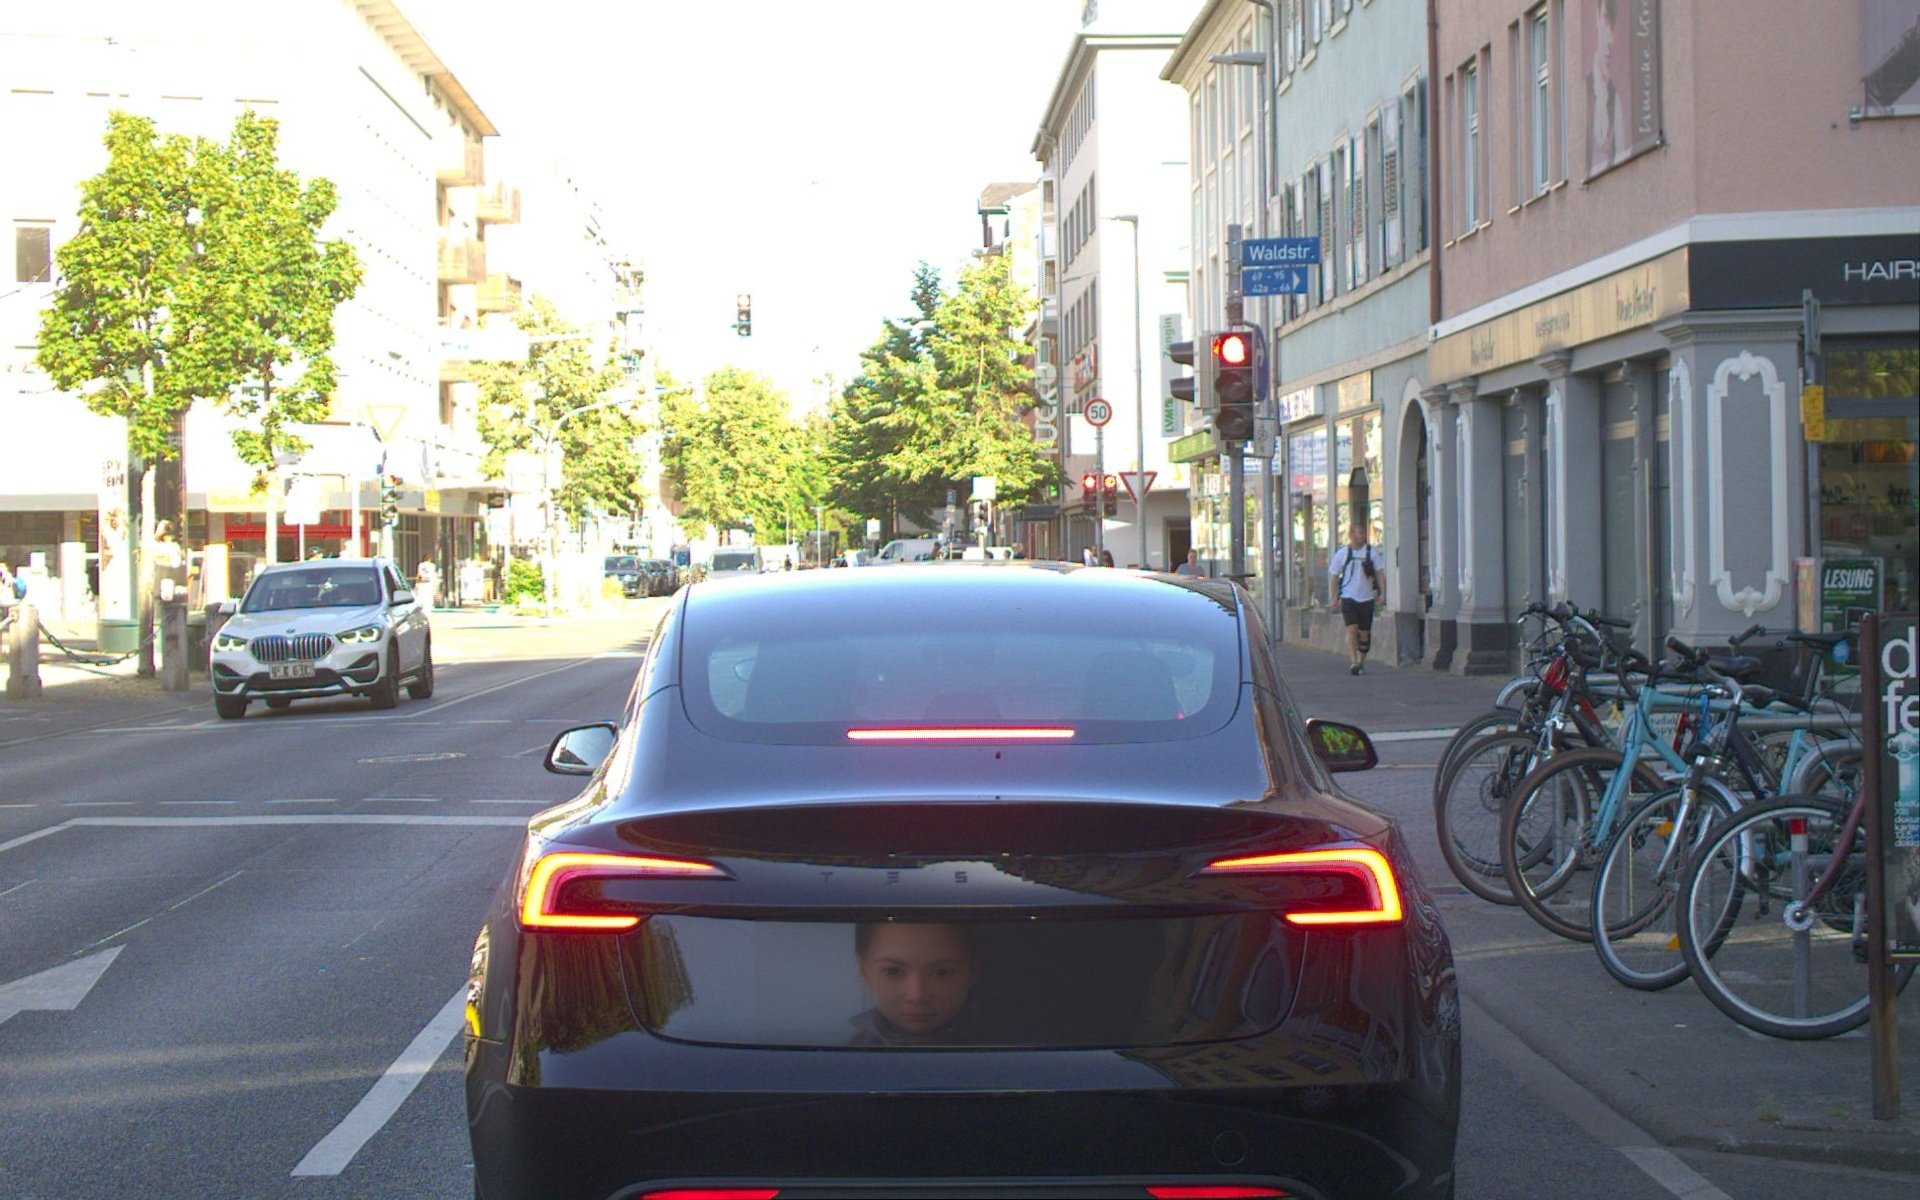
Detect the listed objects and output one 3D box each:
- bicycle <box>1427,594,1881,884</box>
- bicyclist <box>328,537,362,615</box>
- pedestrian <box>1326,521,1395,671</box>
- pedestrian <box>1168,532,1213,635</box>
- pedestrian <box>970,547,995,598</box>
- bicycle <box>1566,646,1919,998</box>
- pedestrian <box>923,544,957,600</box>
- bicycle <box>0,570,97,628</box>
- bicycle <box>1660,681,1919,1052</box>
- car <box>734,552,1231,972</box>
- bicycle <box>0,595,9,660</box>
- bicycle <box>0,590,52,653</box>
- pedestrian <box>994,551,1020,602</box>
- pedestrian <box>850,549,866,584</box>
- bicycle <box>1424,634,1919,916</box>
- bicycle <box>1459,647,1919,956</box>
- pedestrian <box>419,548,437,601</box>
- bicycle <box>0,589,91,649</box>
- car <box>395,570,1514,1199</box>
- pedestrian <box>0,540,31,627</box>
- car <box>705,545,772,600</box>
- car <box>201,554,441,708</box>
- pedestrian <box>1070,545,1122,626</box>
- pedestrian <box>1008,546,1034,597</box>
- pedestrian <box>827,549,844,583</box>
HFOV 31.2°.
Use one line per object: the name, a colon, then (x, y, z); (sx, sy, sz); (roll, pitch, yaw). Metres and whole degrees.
bicycle: (2.959, 0.590, 14.768); (1.828, 1.165, 0.505); (-2, 0, 5)
bicyclist: (-11.832, -0.460, 66.107); (0.522, 1.498, 0.476); (1, 0, -25)
pedestrian: (4.780, -0.052, 41.097); (0.750, 1.759, 0.836); (1, 0, 4)
pedestrian: (3.920, -0.285, 58.480); (0.706, 1.736, 0.540); (0, 1, -1)
pedestrian: (0.633, -0.766, 95.797); (0.472, 1.412, 0.522); (1, 0, -31)
bicycle: (2.955, 0.702, 11.165); (1.873, 1.084, 0.414); (-2, 0, 4)
pedestrian: (-0.593, -0.848, 103.674); (0.715, 1.689, 0.851); (0, 1, -28)
bicycle: (-20.811, -0.023, 77.934); (2.361, 1.291, 0.513); (1, 0, -26)
bicycle: (3.020, 0.753, 9.991); (1.873, 1.034, 0.353); (-2, 0, 6)
car: (0.010, 0.534, 13.752); (1.718, 1.420, 3.758); (0, 1, -2)
bicycle: (-14.798, 0.390, 49.822); (1.864, 0.931, 0.606); (1, 0, -1)
bicycle: (-14.813, 0.324, 52.250); (1.864, 0.931, 0.606); (0, 1, -1)
pedestrian: (1.295, -0.654, 95.324); (0.521, 1.417, 0.479); (1, 0, -30)
pedestrian: (-6.046, -1.987, 203.445); (0.930, 2.007, 0.938); (1, 0, -1)
bicycle: (2.820, 0.686, 13.664); (1.873, 1.034, 0.547); (-2, 0, 5)
bicycle: (2.787, 0.718, 12.444); (1.873, 1.034, 0.533); (-2, 0, 4)
pedestrian: (-14.756, -0.707, 95.320); (0.459, 1.455, 0.518); (0, 1, -5)
bicycle: (-14.841, 0.299, 54.698); (1.864, 0.931, 0.606); (0, 1, -1)
car: (-0.031, 0.655, 7.605); (1.822, 1.437, 4.000); (0, 1, -1)
pedestrian: (-22.252, -0.391, 79.739); (1.057, 2.007, 1.055); (1, 0, 5)
car: (-6.798, -0.851, 105.832); (1.787, 1.640, 4.403); (1, 1, -1)
car: (-6.656, 0.291, 36.153); (1.789, 1.455, 3.757); (-2, 1, 0)
pedestrian: (2.740, -0.300, 69.311); (0.754, 1.626, 0.956); (1, 0, -18)
pedestrian: (1.698, -0.786, 95.822); (0.521, 1.417, 0.479); (1, 0, -30)
pedestrian: (-7.365, -2.003, 203.202); (0.930, 2.007, 0.938); (1, 0, -1)
